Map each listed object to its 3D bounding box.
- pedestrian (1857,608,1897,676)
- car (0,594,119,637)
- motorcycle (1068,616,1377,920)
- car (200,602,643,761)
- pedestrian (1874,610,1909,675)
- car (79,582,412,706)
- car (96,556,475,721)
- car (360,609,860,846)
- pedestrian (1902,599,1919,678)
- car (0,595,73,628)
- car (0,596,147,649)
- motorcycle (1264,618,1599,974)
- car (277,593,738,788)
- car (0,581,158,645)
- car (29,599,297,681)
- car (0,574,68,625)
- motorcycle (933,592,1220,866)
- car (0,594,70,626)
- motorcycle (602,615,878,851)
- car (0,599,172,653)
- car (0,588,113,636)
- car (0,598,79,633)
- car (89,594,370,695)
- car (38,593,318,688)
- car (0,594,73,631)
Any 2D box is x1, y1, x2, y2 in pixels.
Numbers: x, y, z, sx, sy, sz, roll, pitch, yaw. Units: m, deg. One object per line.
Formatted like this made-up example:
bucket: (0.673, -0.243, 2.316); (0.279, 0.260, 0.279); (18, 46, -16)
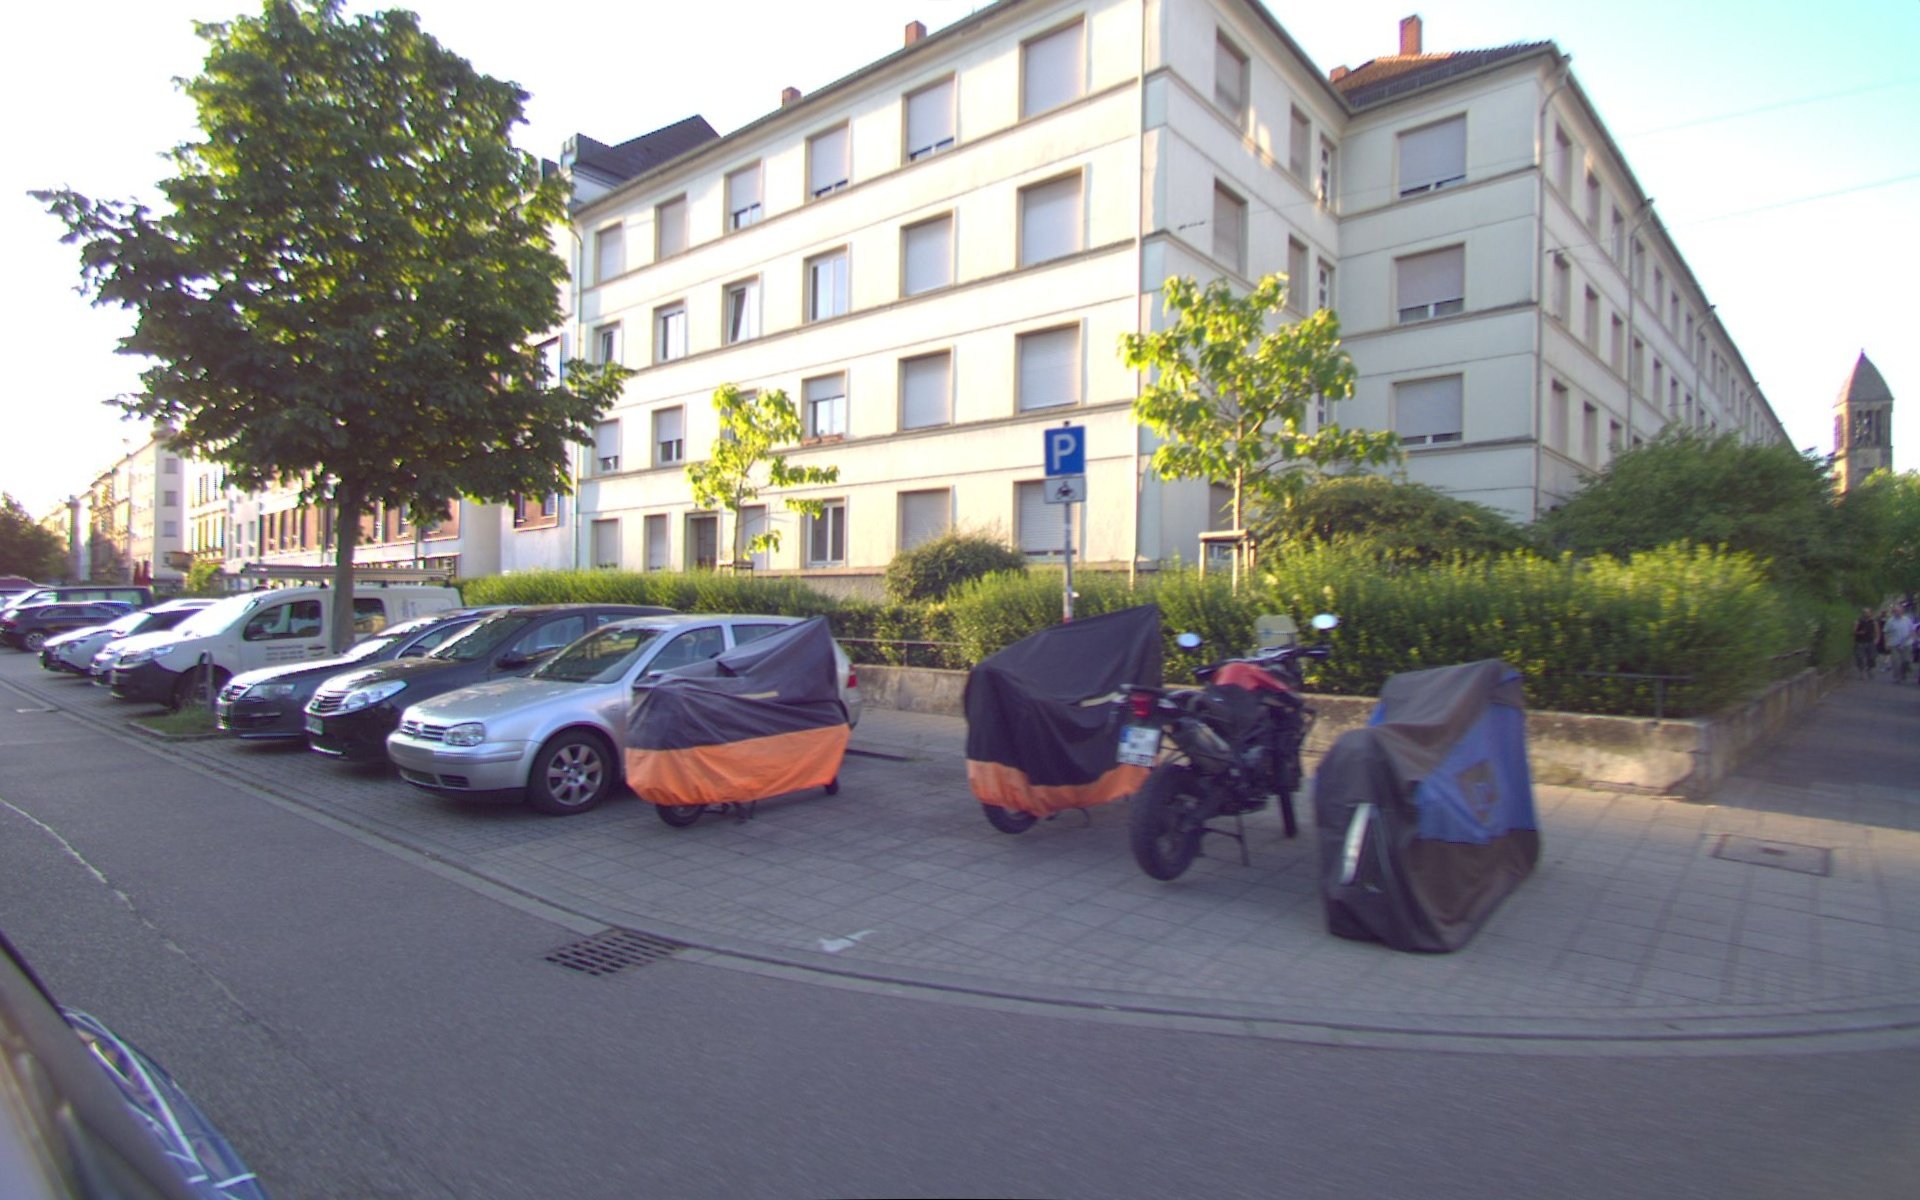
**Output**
pedestrian: (22.722, 1.035, 25.082); (0.736, 1.649, 0.805); (0, -1, 43)
car: (-36.089, 0.610, 40.004); (2.048, 1.601, 3.953); (0, -1, 35)
motorcycle: (1.630, 0.830, 5.978); (0.774, 1.447, 2.206); (0, 0, 44)
car: (-6.203, 0.795, 12.040); (1.852, 1.416, 4.279); (0, 2, 43)
pedestrian: (27.703, 1.246, 30.105); (0.736, 1.890, 0.728); (0, -1, 43)
car: (-12.120, 0.632, 17.382); (1.944, 1.815, 4.372); (0, 1, 44)
car: (-10.134, 0.448, 15.460); (2.001, 2.086, 4.461); (-1, 2, 45)
car: (-2.774, 0.855, 8.598); (1.689, 1.517, 3.674); (0, 0, 41)
pedestrian: (23.386, 0.929, 24.563); (0.736, 1.890, 0.728); (0, 0, 43)
car: (-45.315, 0.524, 48.653); (3.903, 1.551, 1.756); (-1, 1, -44)
car: (-28.744, 0.682, 32.527); (1.653, 1.504, 3.845); (0, 2, 40)
motorcycle: (2.595, 0.837, 5.379); (0.881, 1.447, 2.356); (0, 0, 44)
car: (-4.429, 0.743, 10.331); (1.729, 1.595, 3.943); (0, 0, 43)
car: (-30.767, 0.449, 34.805); (4.798, 2.070, 2.002); (1, -1, -44)
car: (-17.444, 0.799, 22.337); (1.826, 1.462, 4.364); (0, 2, 40)
car: (-49.082, -0.048, 52.281); (1.933, 2.576, 4.352); (0, 0, 44)
motorcycle: (0.874, 0.756, 6.974); (0.774, 1.594, 2.206); (0, 0, 44)
car: (-47.080, 0.482, 50.211); (1.706, 1.536, 4.289); (0, 1, 43)
motorcycle: (-1.515, 0.847, 7.339); (0.720, 1.447, 1.967); (0, 0, 37)
car: (-27.143, 0.744, 31.291); (1.736, 1.426, 4.098); (0, 2, 39)
car: (-37.582, 0.482, 41.457); (1.896, 1.910, 4.136); (0, -1, 39)
car: (-41.828, 0.691, 44.753); (1.789, 1.505, 4.215); (0, 0, 44)
car: (-13.581, 0.733, 18.995); (1.755, 1.495, 3.946); (0, 3, 41)
car: (-15.629, 0.729, 20.395); (1.813, 1.633, 4.198); (0, 1, 42)
car: (-43.520, 0.559, 46.677); (3.841, 1.629, 1.701); (-1, 1, -44)
